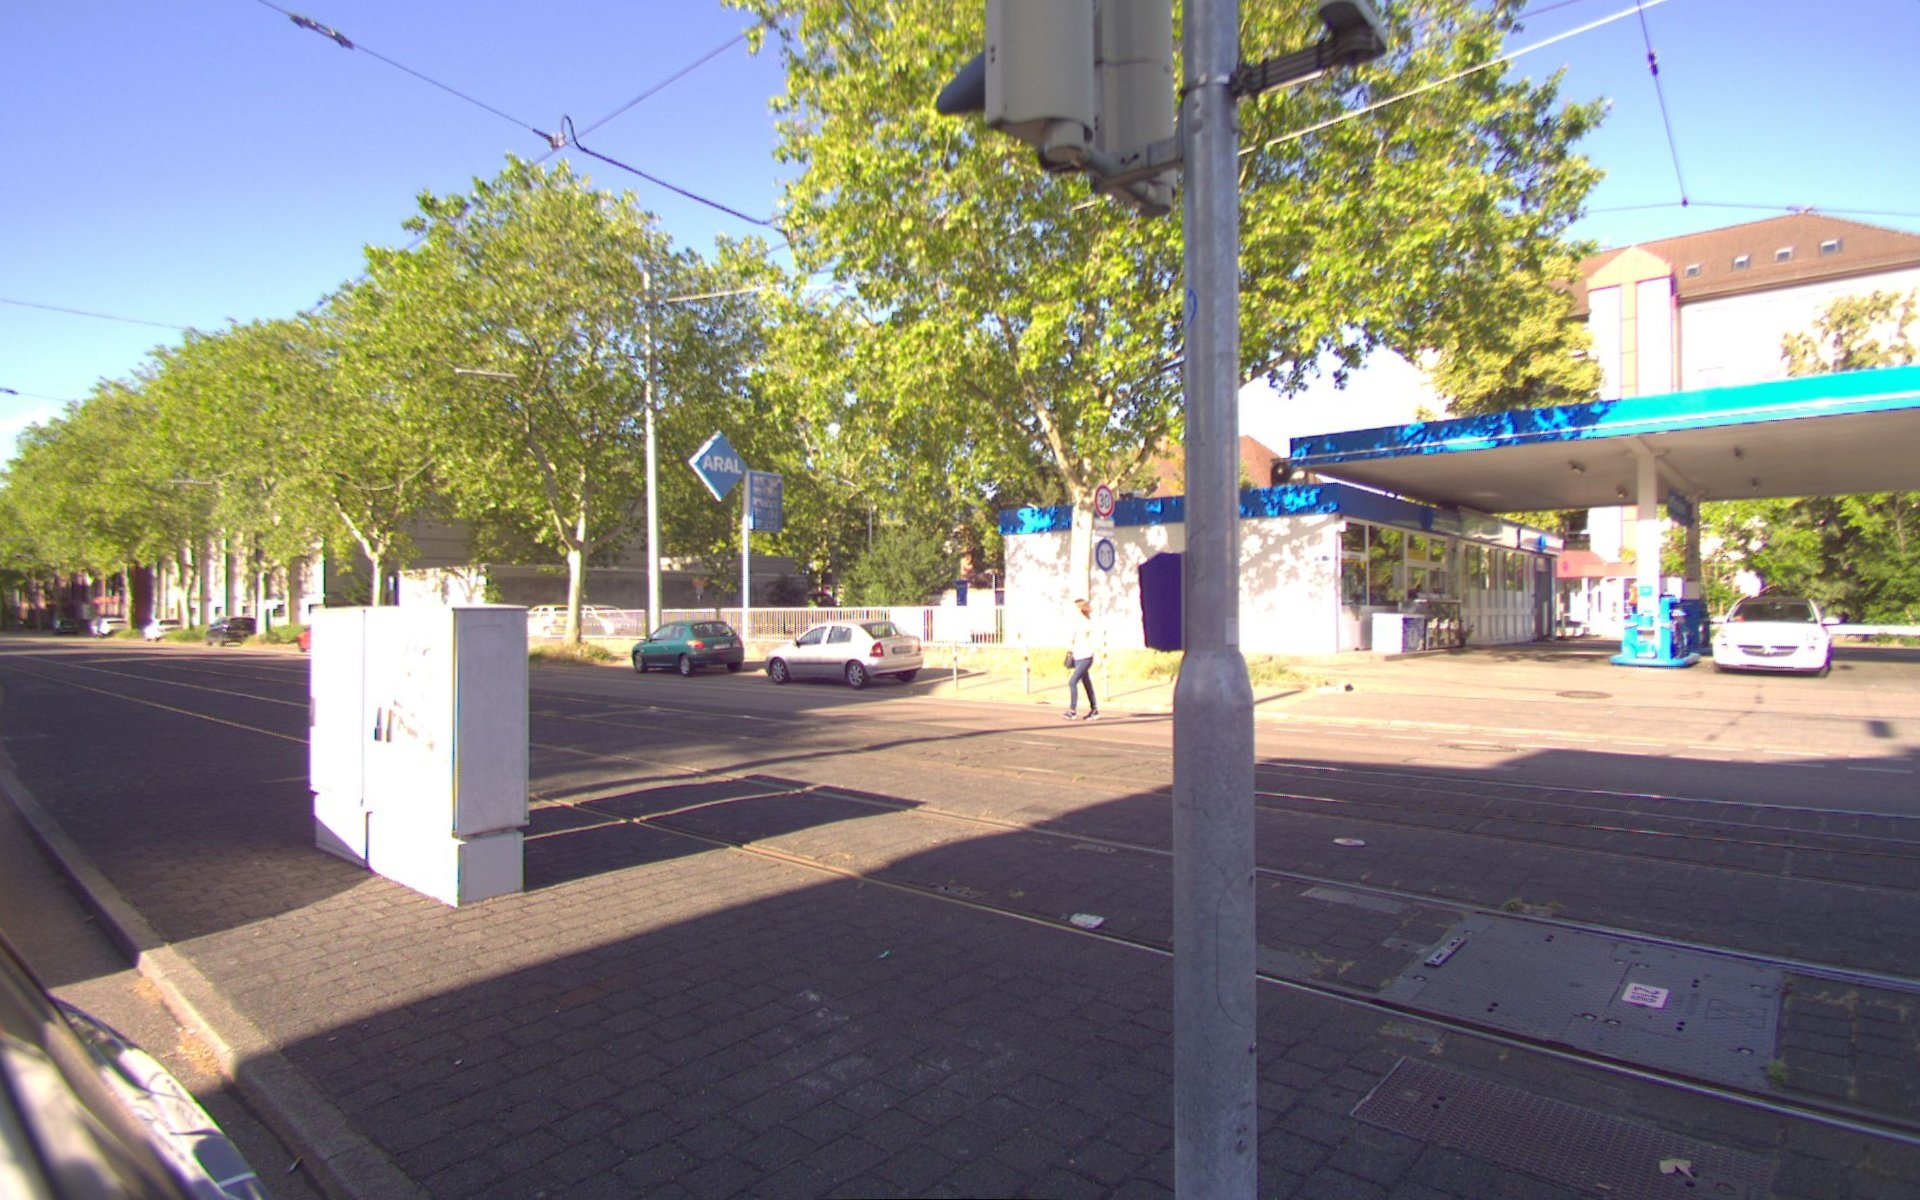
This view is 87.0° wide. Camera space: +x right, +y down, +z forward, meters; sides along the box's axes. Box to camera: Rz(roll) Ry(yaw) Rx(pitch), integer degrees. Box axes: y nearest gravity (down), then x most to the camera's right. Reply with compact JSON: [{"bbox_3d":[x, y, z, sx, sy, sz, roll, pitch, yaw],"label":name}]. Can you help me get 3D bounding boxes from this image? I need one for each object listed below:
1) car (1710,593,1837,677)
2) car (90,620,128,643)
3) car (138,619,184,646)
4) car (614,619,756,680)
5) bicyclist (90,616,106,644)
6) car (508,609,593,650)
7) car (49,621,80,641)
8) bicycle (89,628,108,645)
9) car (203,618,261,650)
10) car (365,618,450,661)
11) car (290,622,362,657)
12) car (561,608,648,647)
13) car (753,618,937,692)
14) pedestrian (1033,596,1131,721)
[{"bbox_3d":[16.013,0.646,19.883,1.780,1.475,3.946,-1,-1,40],"label":"car"},{"bbox_3d":[-66.949,2.479,79.583,4.098,1.686,1.821,-1,1,44],"label":"car"},{"bbox_3d":[-53.846,2.152,68.210,4.098,1.686,1.821,-1,1,44],"label":"car"},{"bbox_3d":[-7.437,1.271,27.137,4.138,1.418,1.820,-1,1,45],"label":"car"},{"bbox_3d":[-60.249,2.089,70.734,1.070,1.878,0.711,-1,-2,41],"label":"bicyclist"},{"bbox_3d":[-17.141,1.190,42.283,4.002,1.545,1.820,-1,1,45],"label":"car"},{"bbox_3d":[-85.045,2.935,96.107,4.098,1.686,1.821,-1,1,44],"label":"car"},{"bbox_3d":[-60.195,2.552,70.686,2.532,1.129,0.645,-1,-1,41],"label":"bicycle"},{"bbox_3d":[-40.663,1.878,56.485,4.098,1.628,1.821,-1,1,44],"label":"car"},{"bbox_3d":[-21.972,1.535,40.190,4.002,1.545,1.820,-1,1,45],"label":"car"},{"bbox_3d":[-28.972,1.767,46.183,4.001,1.418,1.821,-1,1,44],"label":"car"},{"bbox_3d":[-15.400,1.167,43.775,3.999,1.545,1.822,-1,1,42],"label":"car"},{"bbox_3d":[-2.630,1.174,22.648,3.997,1.418,1.823,-1,1,40],"label":"car"},{"bbox_3d":[1.644,0.779,13.692,1.087,1.631,0.718,2,-2,-23],"label":"pedestrian"}]
